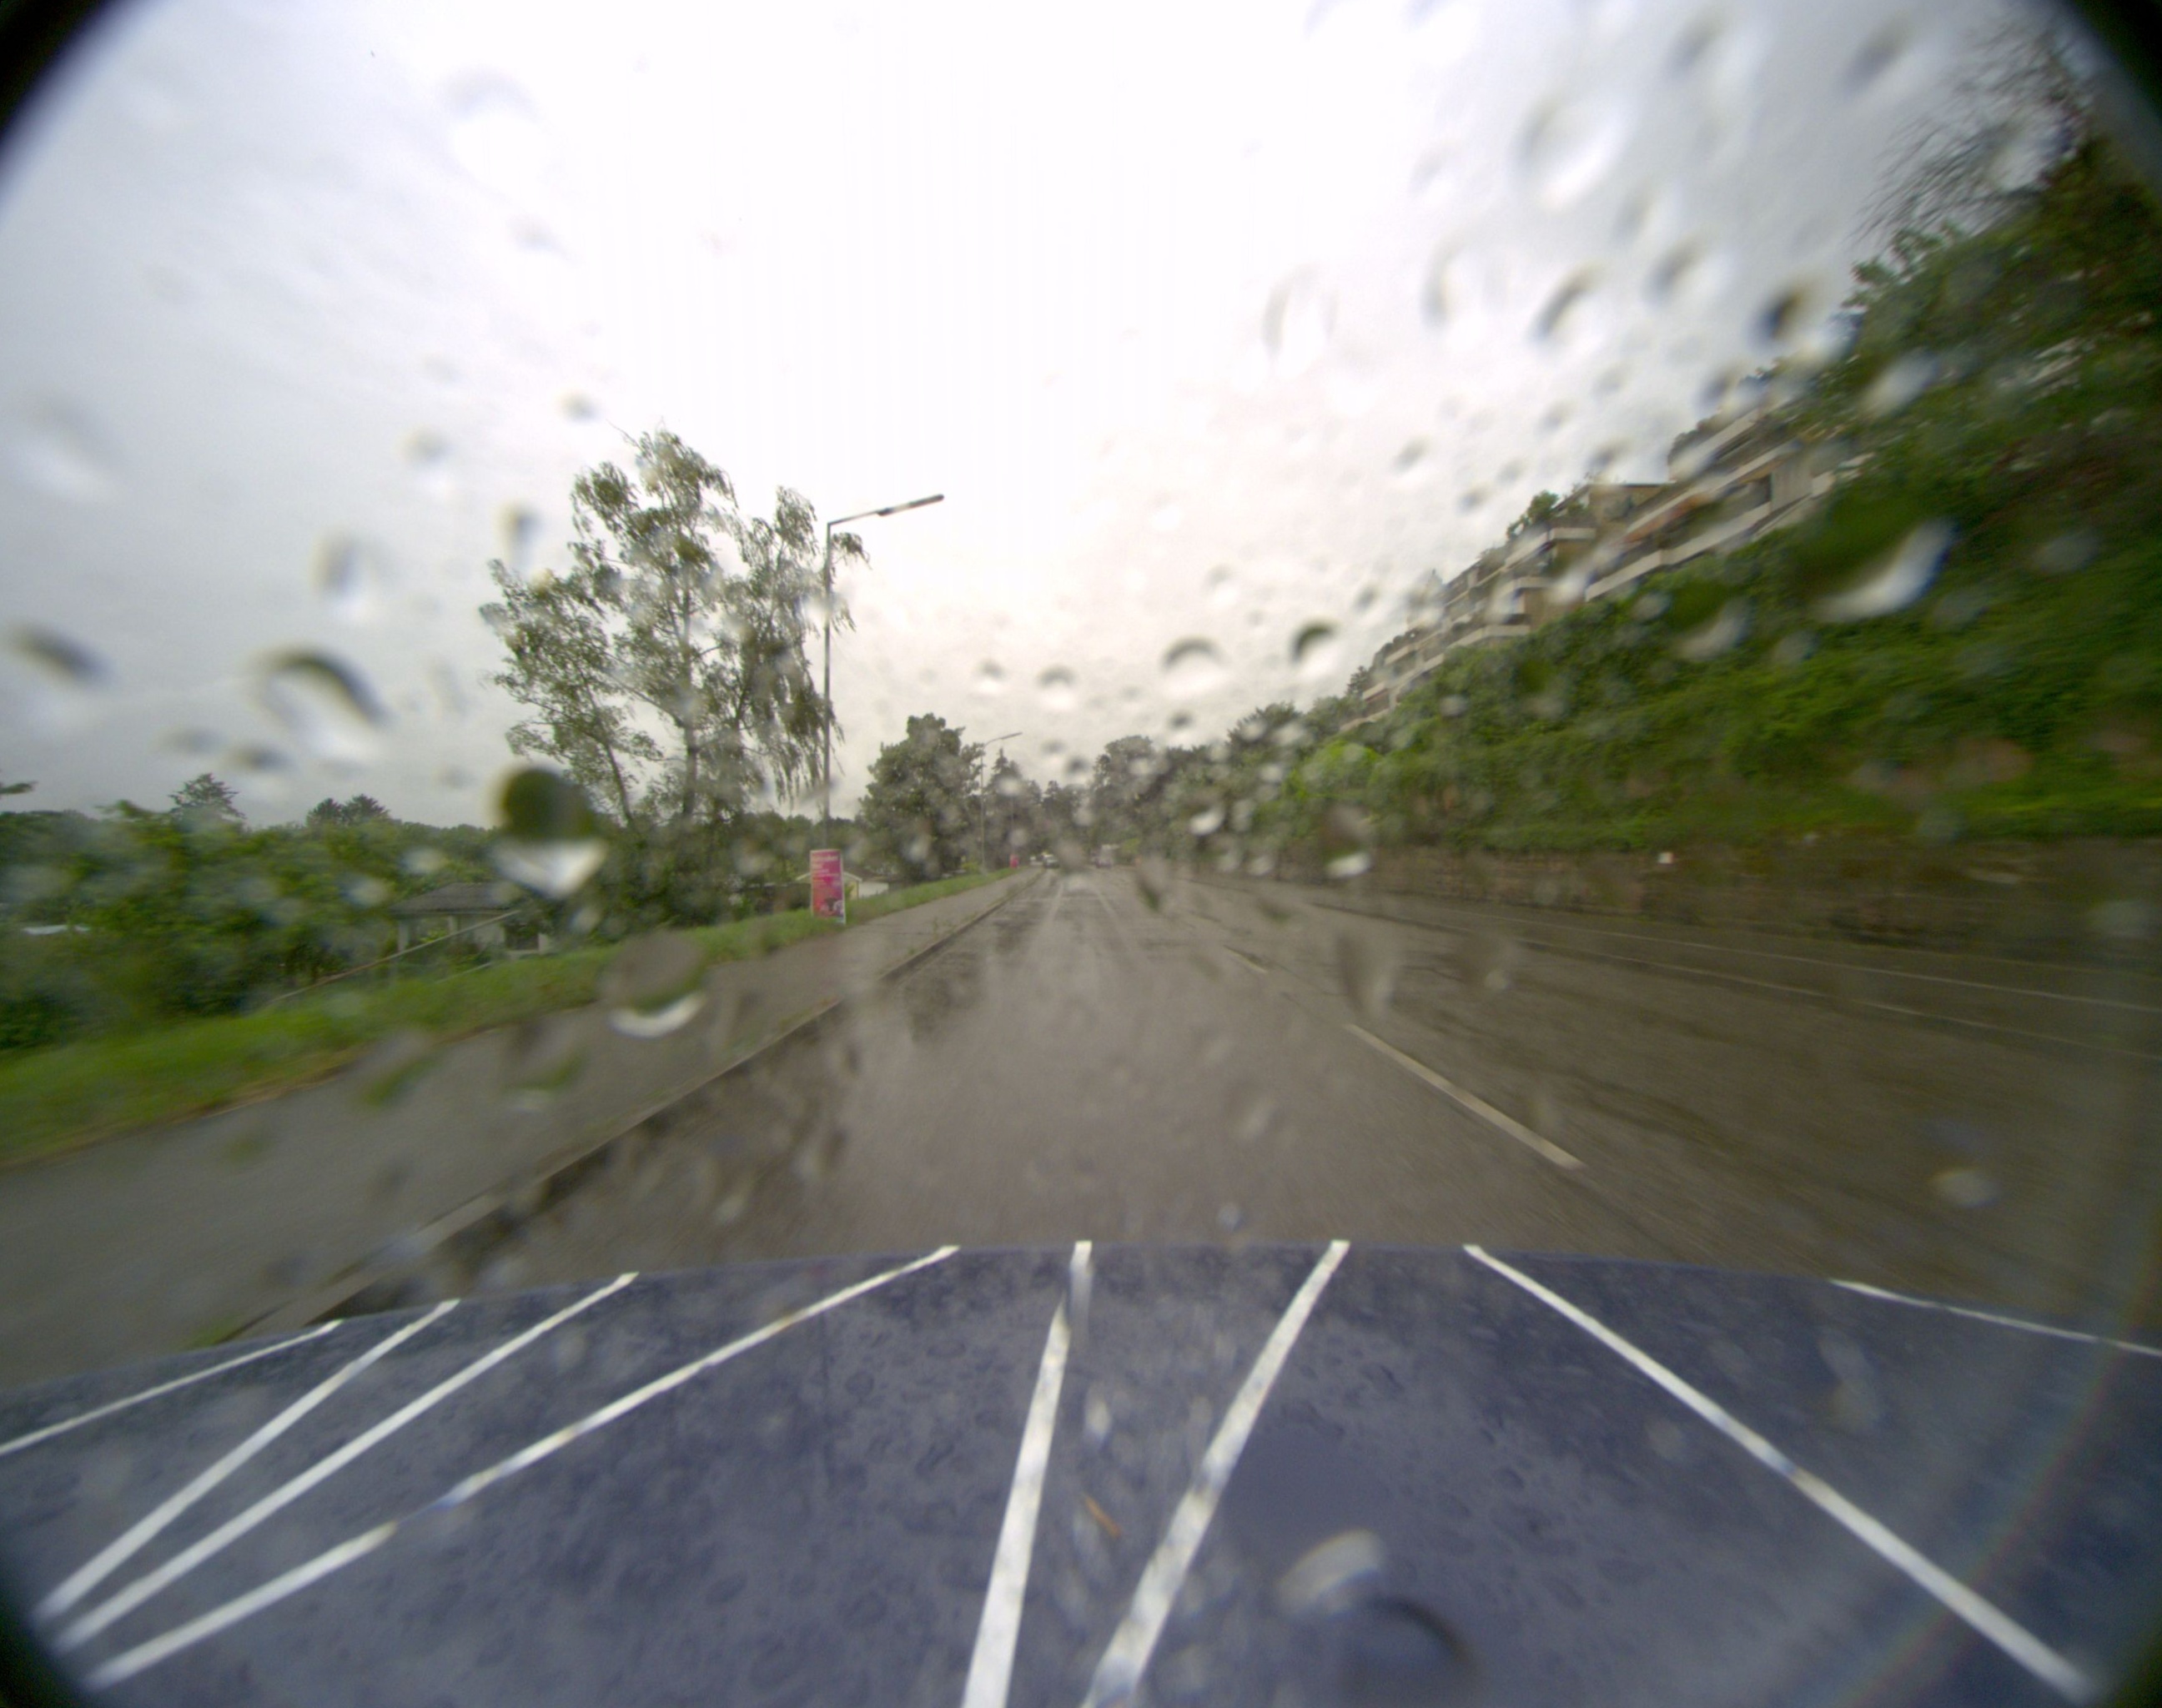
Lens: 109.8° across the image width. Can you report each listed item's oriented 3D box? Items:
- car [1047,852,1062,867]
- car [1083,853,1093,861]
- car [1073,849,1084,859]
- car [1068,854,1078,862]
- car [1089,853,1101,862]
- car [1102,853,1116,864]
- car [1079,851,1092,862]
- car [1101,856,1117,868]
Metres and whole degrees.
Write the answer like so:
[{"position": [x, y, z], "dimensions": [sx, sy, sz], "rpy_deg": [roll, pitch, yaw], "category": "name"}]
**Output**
[{"position": [-3.650, 0.711, 105.695], "dimensions": [1.999, 2.001, 4.000], "rpy_deg": [-1, -1, -1], "category": "car"}, {"position": [1.327, 0.657, 150.082], "dimensions": [1.853, 1.583, 3.704], "rpy_deg": [-2, 0, -2], "category": "car"}, {"position": [-0.584, 0.063, 171.881], "dimensions": [1.855, 2.137, 3.701], "rpy_deg": [-2, 0, -12], "category": "car"}, {"position": [-1.564, 0.799, 149.299], "dimensions": [1.853, 1.583, 3.704], "rpy_deg": [-2, 0, -2], "category": "car"}, {"position": [2.497, 0.622, 132.401], "dimensions": [1.853, 1.583, 3.704], "rpy_deg": [-2, 0, -2], "category": "car"}, {"position": [4.164, 0.711, 114.951], "dimensions": [1.853, 1.583, 3.704], "rpy_deg": [-2, 0, -2], "category": "car"}, {"position": [0.818, 0.452, 155.061], "dimensions": [1.855, 2.137, 3.701], "rpy_deg": [-2, 0, -12], "category": "car"}, {"position": [3.421, 0.962, 93.086], "dimensions": [1.597, 1.433, 3.704], "rpy_deg": [1, 0, -2], "category": "car"}]
